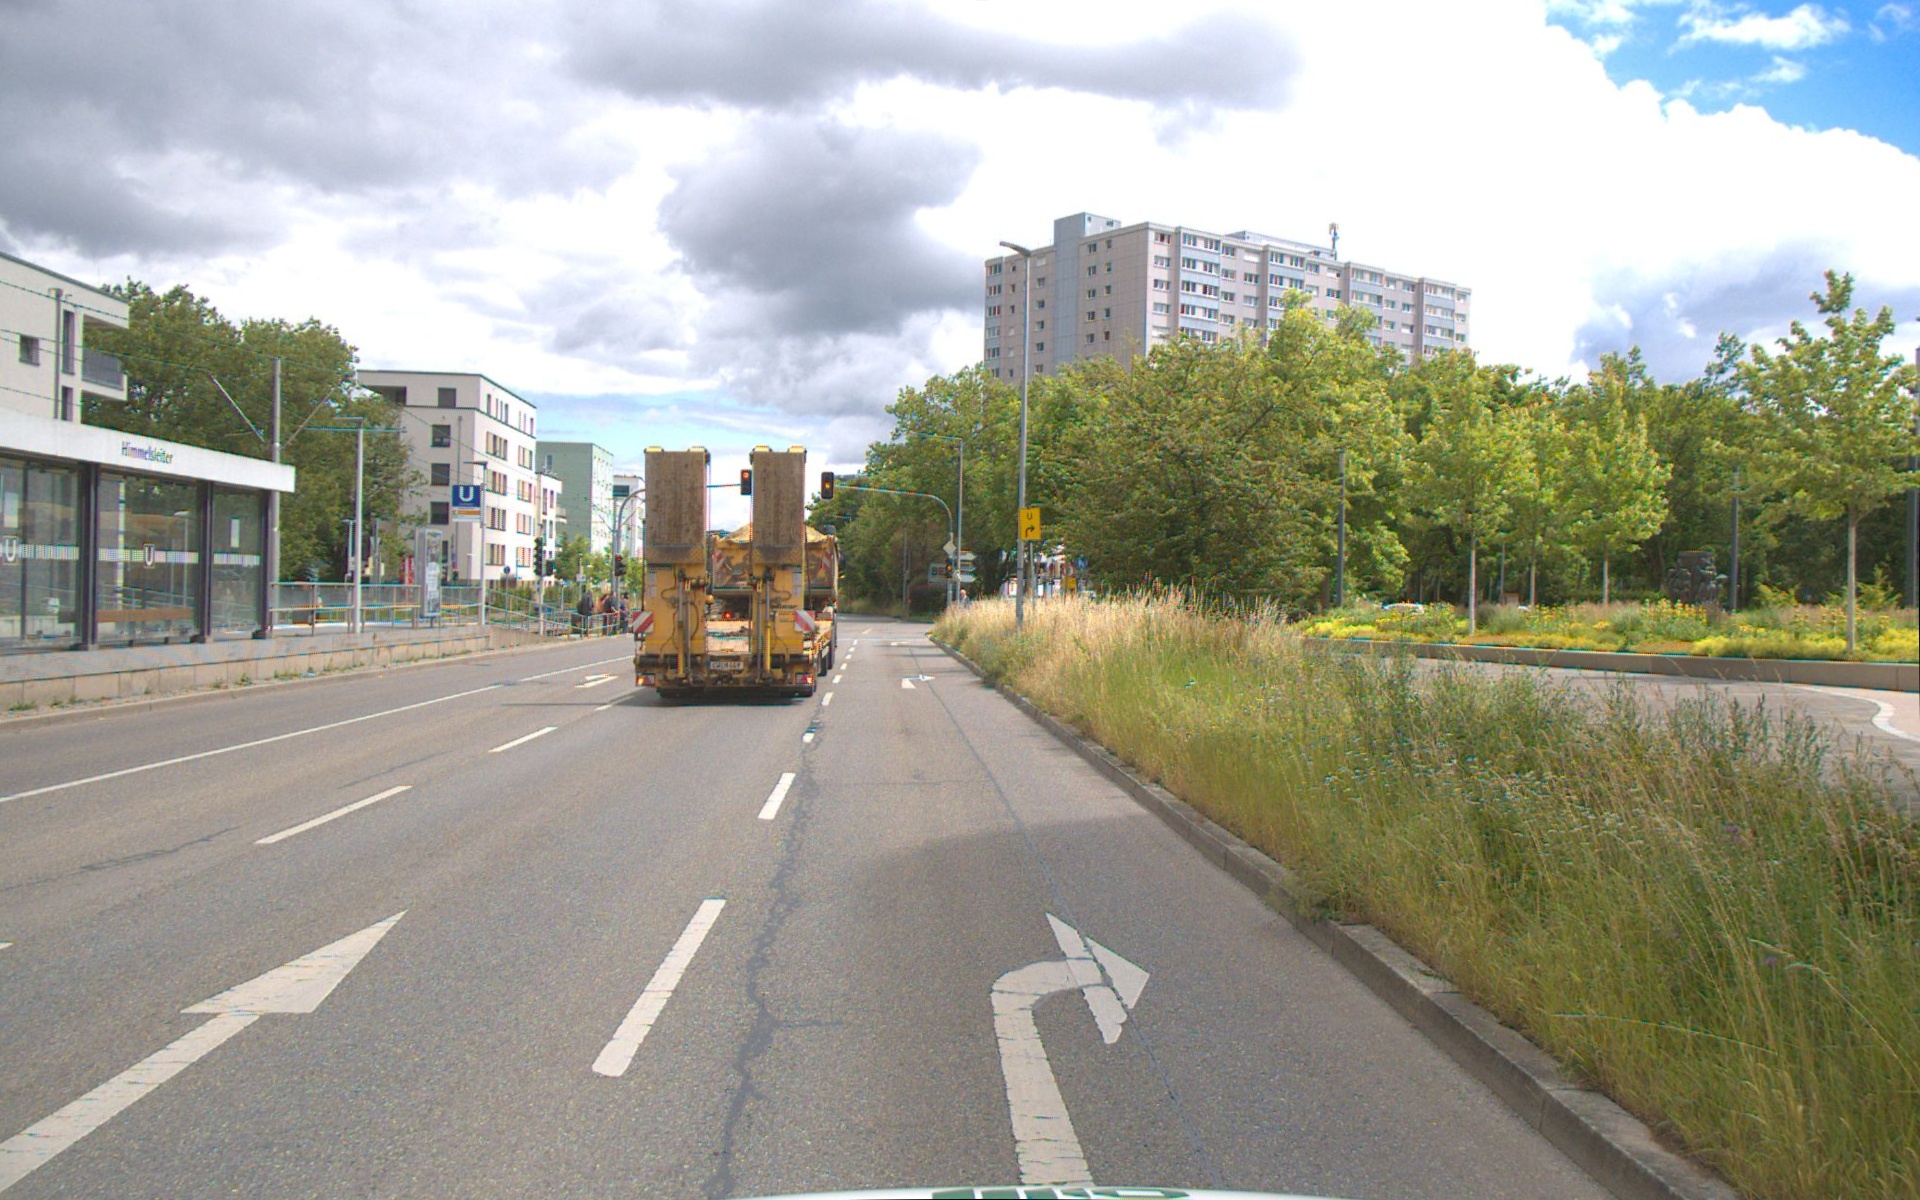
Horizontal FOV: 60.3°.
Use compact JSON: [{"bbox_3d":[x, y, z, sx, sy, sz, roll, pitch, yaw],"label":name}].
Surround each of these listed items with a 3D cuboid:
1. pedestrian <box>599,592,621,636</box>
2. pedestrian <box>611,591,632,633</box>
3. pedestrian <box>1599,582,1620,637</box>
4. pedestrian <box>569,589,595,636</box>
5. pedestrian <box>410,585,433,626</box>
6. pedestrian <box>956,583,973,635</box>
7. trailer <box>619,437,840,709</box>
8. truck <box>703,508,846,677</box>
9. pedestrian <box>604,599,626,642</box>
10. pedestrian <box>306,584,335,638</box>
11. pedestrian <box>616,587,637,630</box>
[{"bbox_3d":[-13.195,0.523,62.408,0.668,1.631,0.822,1,0,-4],"label":"pedestrian"},{"bbox_3d":[-13.300,0.468,65.019,0.668,1.631,0.822,1,0,-4],"label":"pedestrian"},{"bbox_3d":[23.687,0.338,60.353,0.564,1.985,0.405,1,0,-3],"label":"pedestrian"},{"bbox_3d":[-13.977,0.454,61.183,0.804,1.698,0.683,1,0,-2],"label":"pedestrian"},{"bbox_3d":[-28.903,0.287,88.736,0.897,2.171,0.934,1,0,-3],"label":"pedestrian"},{"bbox_3d":[0.167,0.355,65.276,0.551,2.049,0.490,1,-1,-12],"label":"pedestrian"},{"bbox_3d":[-3.524,-0.388,28.026,2.675,3.621,11.247,1,0,-3],"label":"trailer"},{"bbox_3d":[-4.062,-0.169,37.826,2.698,3.371,8.346,1,0,-3],"label":"truck"},{"bbox_3d":[-13.228,0.788,63.388,0.668,1.631,0.822,1,0,-4],"label":"pedestrian"},{"bbox_3d":[-26.958,0.477,69.738,0.897,2.243,0.881,1,0,-3],"label":"pedestrian"},{"bbox_3d":[-13.284,0.344,65.926,0.668,1.699,0.822,1,0,-4],"label":"pedestrian"}]
